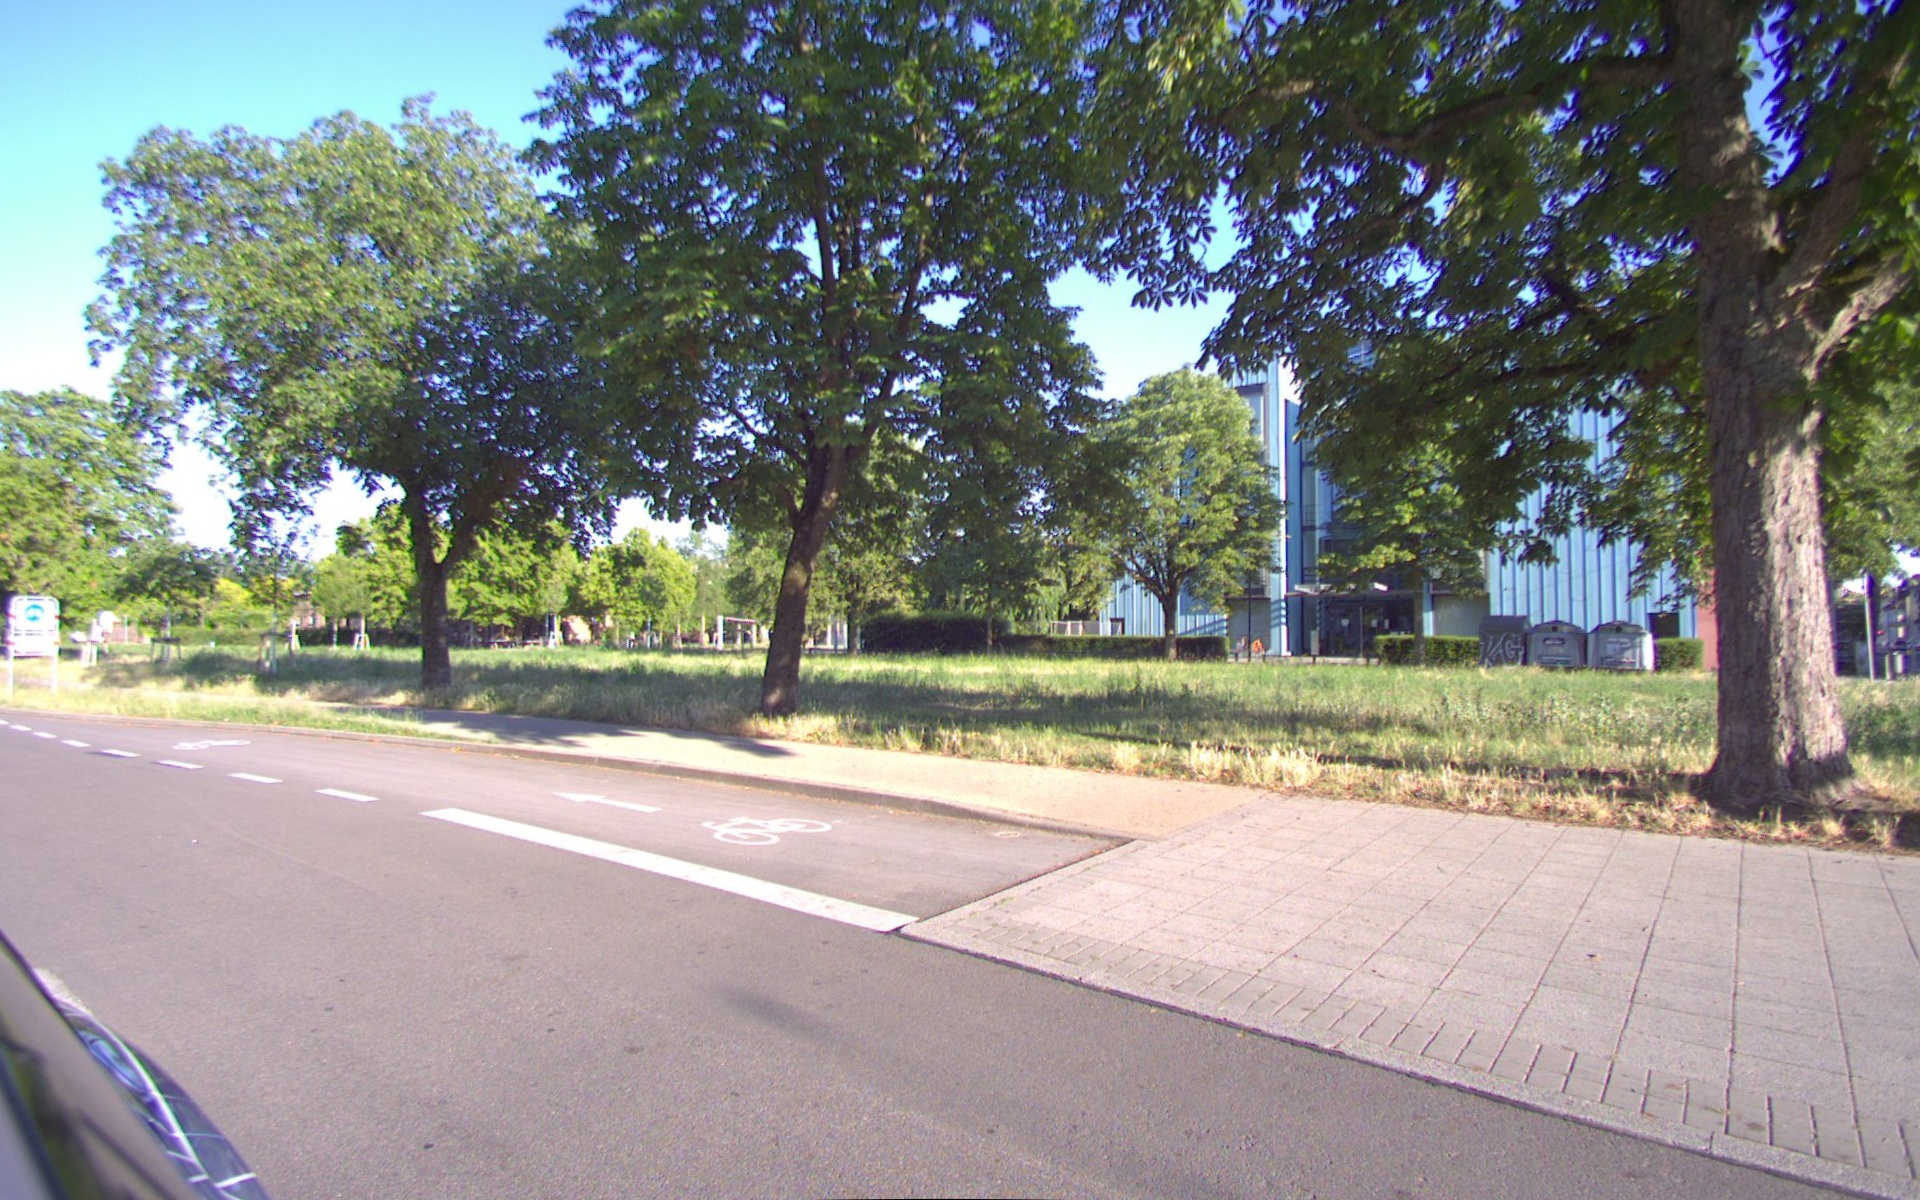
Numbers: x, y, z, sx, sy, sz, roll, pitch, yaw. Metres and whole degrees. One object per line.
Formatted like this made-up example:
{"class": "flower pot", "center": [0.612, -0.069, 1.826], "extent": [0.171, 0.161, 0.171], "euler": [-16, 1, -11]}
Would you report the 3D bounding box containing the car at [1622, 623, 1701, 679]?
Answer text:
{"class": "car", "center": [23.534, 1.746, 33.877], "extent": [1.996, 1.684, 5.158], "euler": [-1, -4, 37]}
